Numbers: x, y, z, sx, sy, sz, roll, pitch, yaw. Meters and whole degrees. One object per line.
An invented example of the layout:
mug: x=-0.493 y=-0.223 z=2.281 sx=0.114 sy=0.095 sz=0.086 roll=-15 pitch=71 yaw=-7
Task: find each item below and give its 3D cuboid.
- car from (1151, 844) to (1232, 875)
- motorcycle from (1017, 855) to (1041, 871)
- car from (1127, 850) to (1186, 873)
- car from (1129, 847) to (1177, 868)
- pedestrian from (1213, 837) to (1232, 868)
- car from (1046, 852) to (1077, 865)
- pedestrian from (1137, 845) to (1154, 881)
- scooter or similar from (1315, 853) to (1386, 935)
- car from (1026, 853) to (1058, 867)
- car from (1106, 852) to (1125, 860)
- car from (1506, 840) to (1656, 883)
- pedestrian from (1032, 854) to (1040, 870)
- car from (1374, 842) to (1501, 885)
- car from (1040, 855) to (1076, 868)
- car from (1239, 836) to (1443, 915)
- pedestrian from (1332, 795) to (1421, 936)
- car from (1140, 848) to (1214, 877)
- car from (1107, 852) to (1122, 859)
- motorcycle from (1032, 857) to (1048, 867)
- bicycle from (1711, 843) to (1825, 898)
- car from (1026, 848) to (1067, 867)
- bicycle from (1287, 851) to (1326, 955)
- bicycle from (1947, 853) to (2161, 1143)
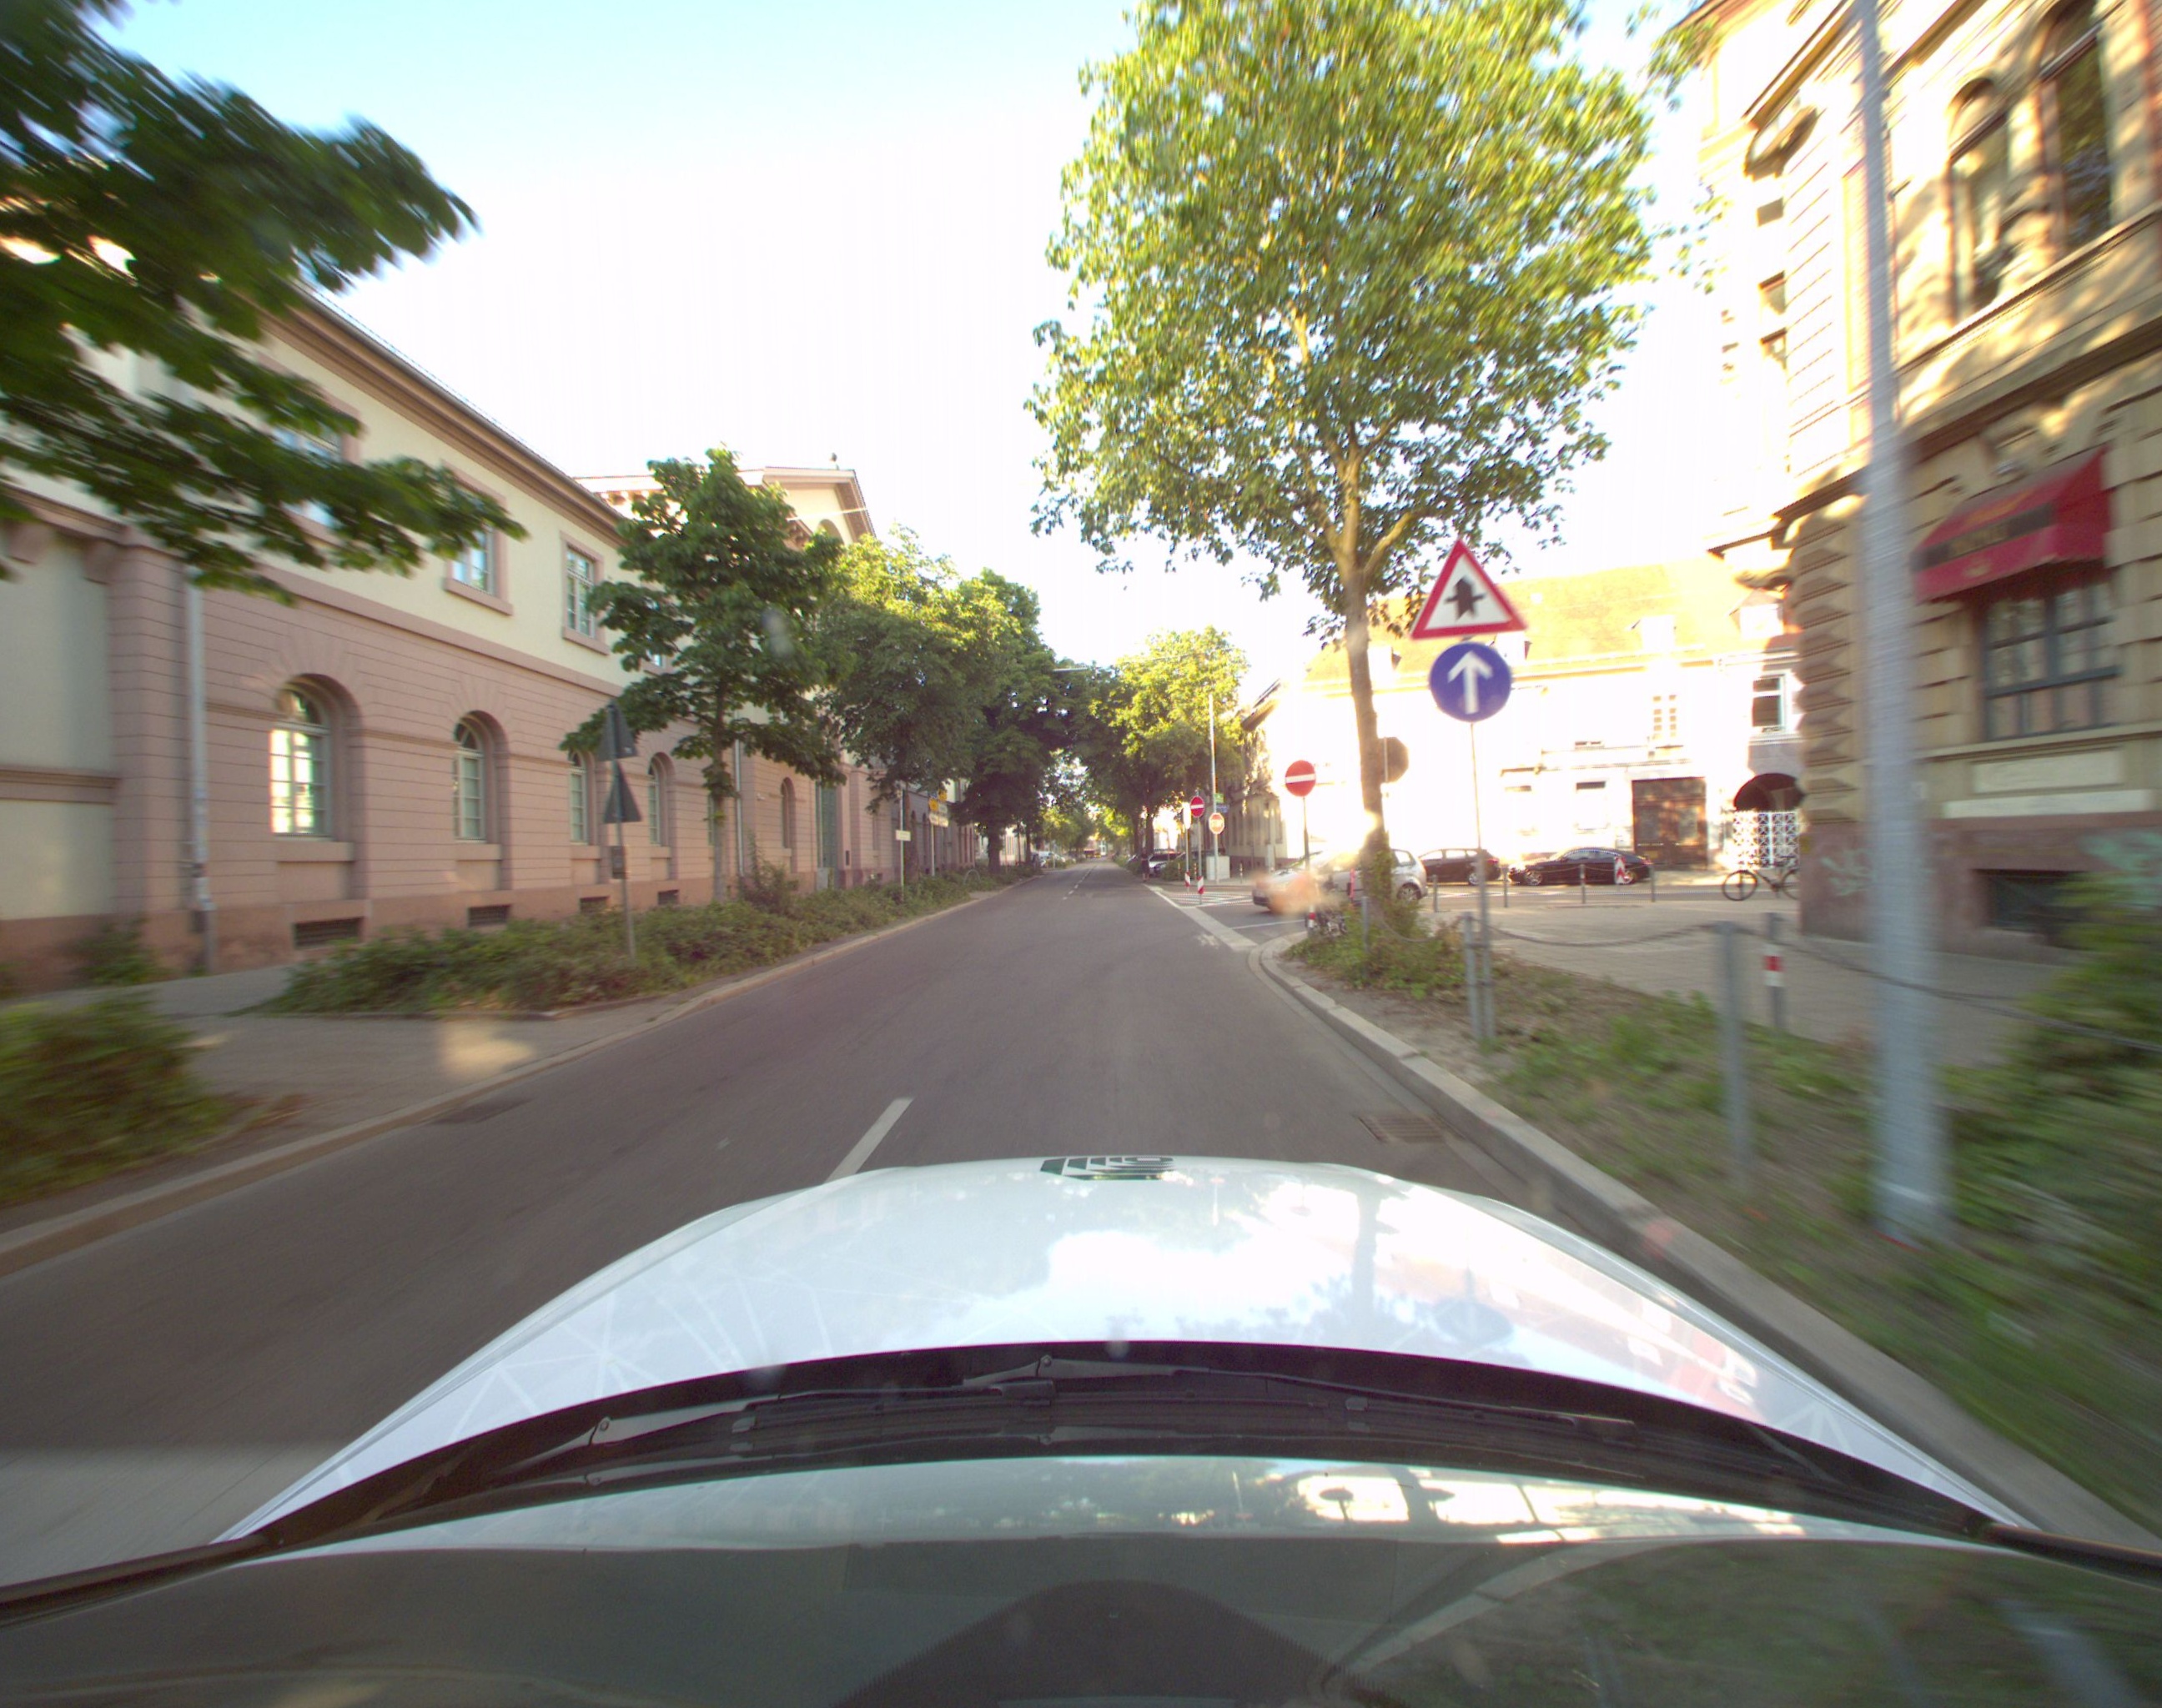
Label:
car: x=5.915 y=0.269 z=44.006 sx=4.094 sy=1.490 sz=1.850 roll=-2 pitch=1 yaw=0
motorcycle: x=-4.365 y=0.736 z=67.890 sx=1.912 sy=1.258 sz=0.591 roll=-2 pitch=0 yaw=1
car: x=5.337 y=0.514 z=57.681 sx=4.001 sy=1.480 sz=1.780 roll=-2 pitch=0 yaw=0
car: x=6.171 y=0.270 z=70.103 sx=4.001 sy=1.623 sz=1.780 roll=-2 pitch=0 yaw=0
pedestrian: x=7.925 y=-0.108 z=45.730 sx=0.939 sy=1.706 sz=0.783 roll=-2 pitch=1 yaw=3
car: x=-3.355 y=0.742 z=139.422 sx=5.044 sy=2.083 sz=2.264 roll=-2 pitch=0 yaw=2
pedestrian: x=3.455 y=0.476 z=43.503 sx=0.790 sy=1.868 sz=0.753 roll=-2 pitch=0 yaw=6
scooter or similar: x=4.415 y=0.625 z=13.302 sx=1.281 sy=1.243 sz=0.500 roll=-2 pitch=0 yaw=-42
car: x=-4.634 y=0.768 z=97.708 sx=3.716 sy=1.508 sz=1.871 roll=-2 pitch=0 yaw=-2
car: x=7.105 y=0.397 z=167.844 sx=3.974 sy=1.442 sz=1.696 roll=-2 pitch=0 yaw=-1
car: x=18.159 y=0.275 z=29.831 sx=4.461 sy=1.369 sz=1.786 roll=-2 pitch=3 yaw=25
pedestrian: x=-4.011 y=0.709 z=72.355 sx=0.652 sy=1.395 sz=0.607 roll=-1 pitch=-1 yaw=1
car: x=13.867 y=0.380 z=31.735 sx=4.368 sy=1.542 sz=1.878 roll=-2 pitch=0 yaw=27
car: x=-3.467 y=1.144 z=123.159 sx=5.041 sy=1.617 sz=2.266 roll=-2 pitch=0 yaw=4
car: x=6.221 y=0.474 z=19.581 sx=4.349 sy=1.654 sz=1.875 roll=-2 pitch=0 yaw=-17
pedestrian: x=4.701 y=0.179 z=13.059 sx=1.039 sy=2.146 sz=1.064 roll=-1 pitch=-1 yaw=2
car: x=5.730 y=0.485 z=48.979 sx=4.177 sy=1.480 sz=1.853 roll=-3 pitch=0 yaw=1
car: x=9.758 y=0.539 z=235.035 sx=3.964 sy=1.838 sz=2.005 roll=-2 pitch=0 yaw=8
motorcycle: x=-4.478 y=0.859 z=88.507 sx=1.630 sy=1.068 sz=0.656 roll=-1 pitch=0 yaw=1
bicycle: x=14.949 y=0.365 z=17.739 sx=1.810 sy=1.135 sz=0.833 roll=-3 pitch=-2 yaw=44
car: x=-4.321 y=0.424 z=103.099 sx=5.046 sy=2.083 sz=2.263 roll=-2 pitch=0 yaw=1
bicycle: x=3.193 y=0.663 z=11.595 sx=0.414 sy=1.372 sz=1.293 roll=-3 pitch=0 yaw=13
bicycle: x=4.608 y=0.579 z=2.915 sx=0.522 sy=1.152 sz=2.247 roll=-2 pitch=0 yaw=-2
